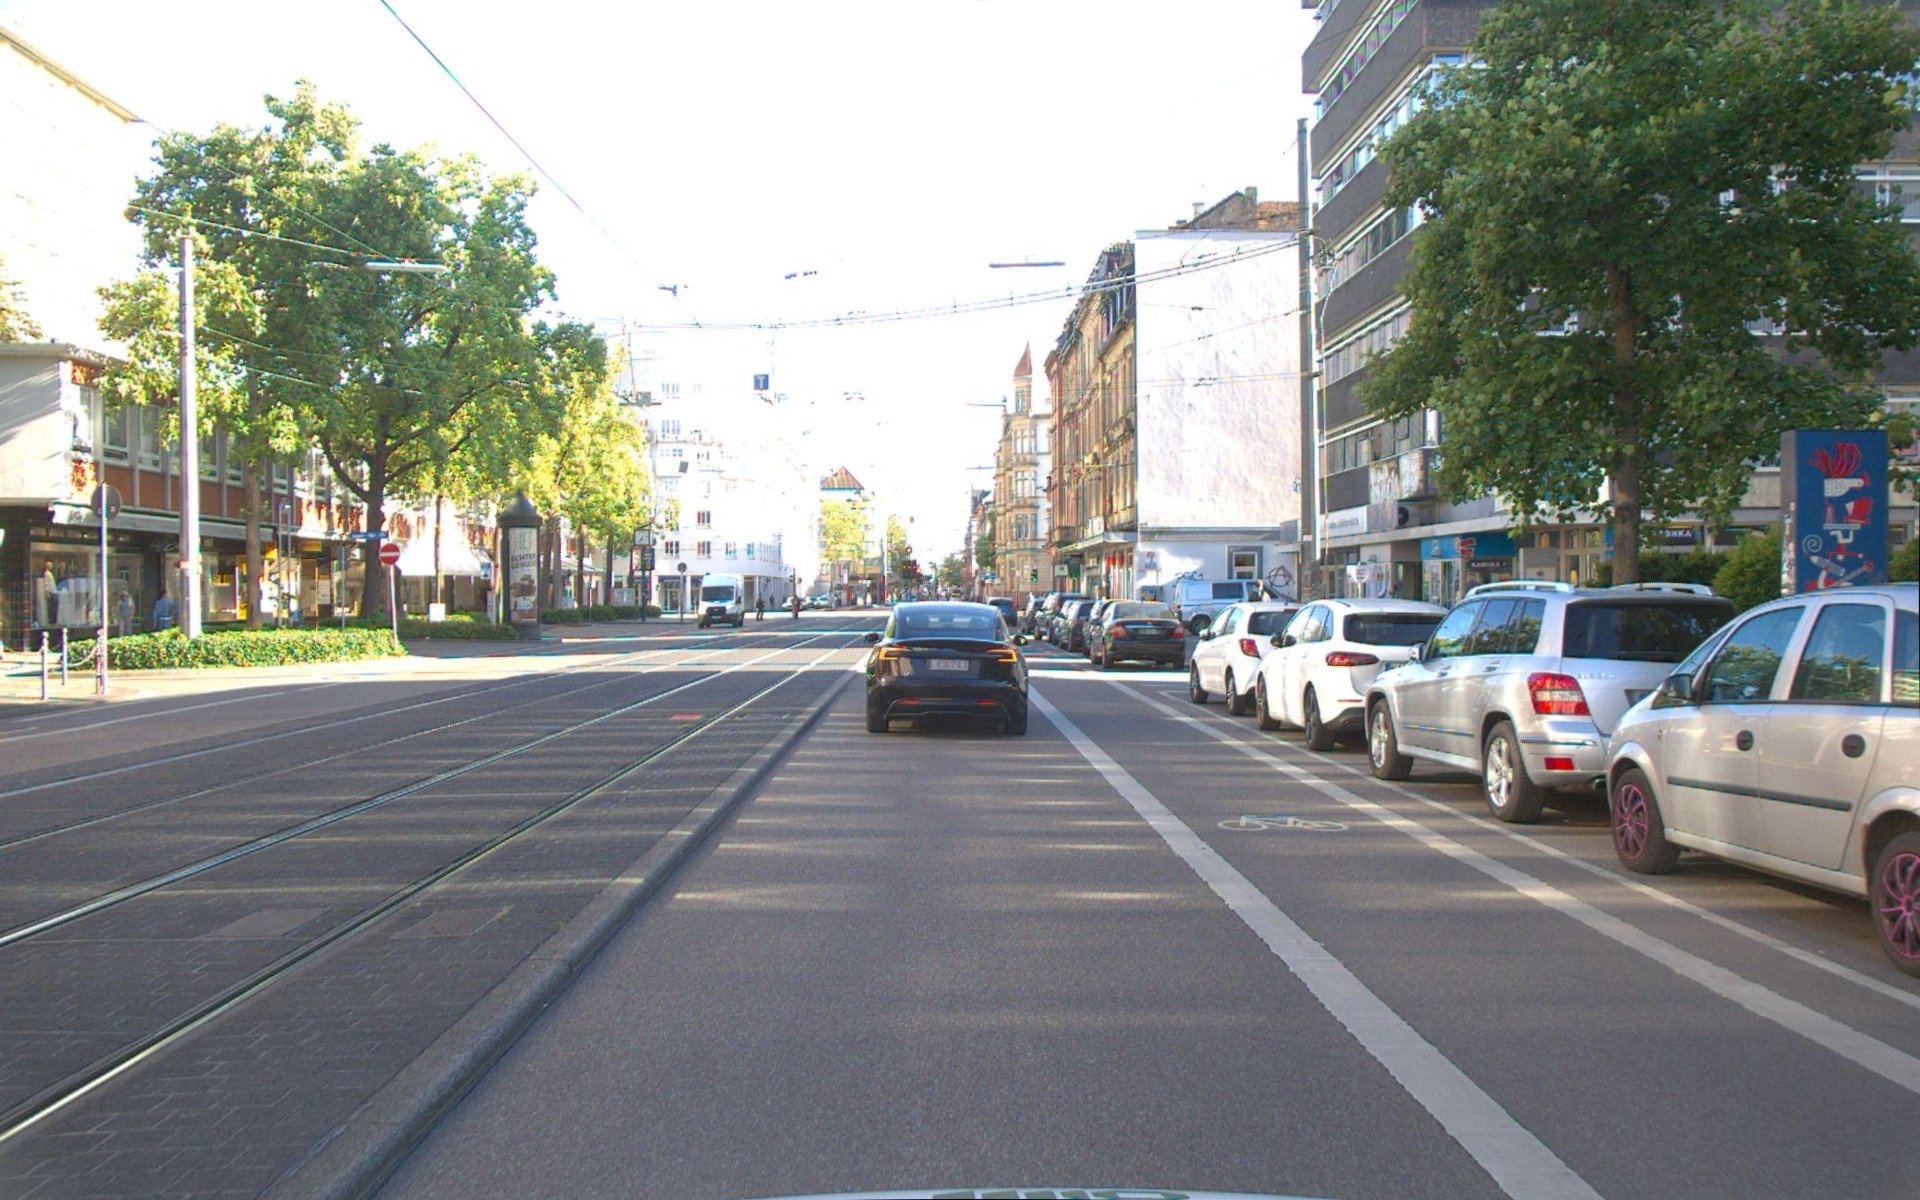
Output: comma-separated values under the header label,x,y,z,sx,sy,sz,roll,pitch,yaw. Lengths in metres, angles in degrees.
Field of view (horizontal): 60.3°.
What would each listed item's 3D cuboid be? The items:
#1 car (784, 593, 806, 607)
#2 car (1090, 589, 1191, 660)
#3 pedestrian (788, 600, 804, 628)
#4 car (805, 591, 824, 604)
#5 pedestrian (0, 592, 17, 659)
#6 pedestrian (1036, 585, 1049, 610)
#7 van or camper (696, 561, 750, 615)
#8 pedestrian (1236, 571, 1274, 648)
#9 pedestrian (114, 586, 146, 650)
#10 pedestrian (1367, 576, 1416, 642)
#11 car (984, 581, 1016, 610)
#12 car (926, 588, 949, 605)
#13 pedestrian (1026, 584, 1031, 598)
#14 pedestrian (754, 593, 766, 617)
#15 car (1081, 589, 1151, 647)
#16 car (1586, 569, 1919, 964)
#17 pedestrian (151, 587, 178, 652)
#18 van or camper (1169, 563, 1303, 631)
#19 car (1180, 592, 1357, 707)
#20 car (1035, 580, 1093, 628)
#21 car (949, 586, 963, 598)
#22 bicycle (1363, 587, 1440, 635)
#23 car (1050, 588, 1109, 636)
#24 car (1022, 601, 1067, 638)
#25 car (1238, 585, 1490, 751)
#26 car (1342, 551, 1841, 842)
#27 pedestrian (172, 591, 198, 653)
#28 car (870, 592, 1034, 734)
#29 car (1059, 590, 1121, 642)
label,x,y,z,sx,sy,sz,roll,pitch,yaw
car,-16.917,0.049,169.700,1.953,1.392,3.999,-1,0,-1
car,3.988,0.524,37.221,1.676,1.482,4.549,1,0,-1
pedestrian,-10.235,0.871,103.057,0.826,1.725,0.797,1,0,6
car,-17.076,-0.301,194.442,1.953,1.521,3.999,-1,1,-1
pedestrian,-25.061,0.674,43.045,0.511,1.724,0.710,-1,0,22
pedestrian,5.434,-0.183,108.986,0.734,1.645,0.705,-1,0,-3
van or camper,-12.249,-0.597,85.956,2.097,2.700,6.876,-1,0,-3
pedestrian,7.133,0.233,40.007,0.707,1.843,0.889,-1,0,-1
pedestrian,-24.871,0.534,49.555,0.614,1.879,0.672,1,0,-4
pedestrian,11.816,0.240,45.293,1.130,1.759,1.043,-1,1,24
car,2.089,-0.236,87.601,1.561,1.458,3.686,-1,0,0
car,-2.239,-0.340,161.623,1.955,1.552,3.996,1,-1,-5
pedestrian,6.180,-0.810,148.566,0.432,1.242,0.389,-1,0,-2
pedestrian,-12.785,0.306,105.836,0.687,1.528,0.795,0,0,0
car,4.085,0.482,43.654,1.546,1.472,3.309,0,-1,0
car,4.743,0.688,8.080,1.679,1.618,4.063,1,0,-2
pedestrian,-23.739,0.580,49.363,0.580,1.905,0.537,1,0,-10
van or camper,10.067,-0.107,60.546,4.547,2.173,1.988,-3,0,3
car,4.335,0.663,23.791,1.570,1.468,3.882,2,0,-4
car,3.664,0.163,59.044,1.792,1.656,4.095,0,-1,0
car,-0.503,-1.051,221.418,1.808,1.620,4.000,-1,0,0
bicycle,11.880,0.305,44.514,2.155,1.240,0.795,1,-1,-34
car,3.866,0.401,54.013,1.547,1.469,3.912,0,-1,-2
car,3.544,0.818,69.714,1.680,1.498,3.719,-1,0,0
car,4.306,0.651,18.314,1.511,1.597,4.441,1,0,-3
car,4.637,0.603,13.050,1.887,1.866,4.709,1,1,-4
pedestrian,-23.179,0.660,49.494,0.535,1.833,0.587,1,0,-10
car,-0.140,0.646,19.073,1.685,1.430,3.708,1,1,-2
car,3.803,0.475,48.894,1.432,1.457,3.812,0,-1,-2
